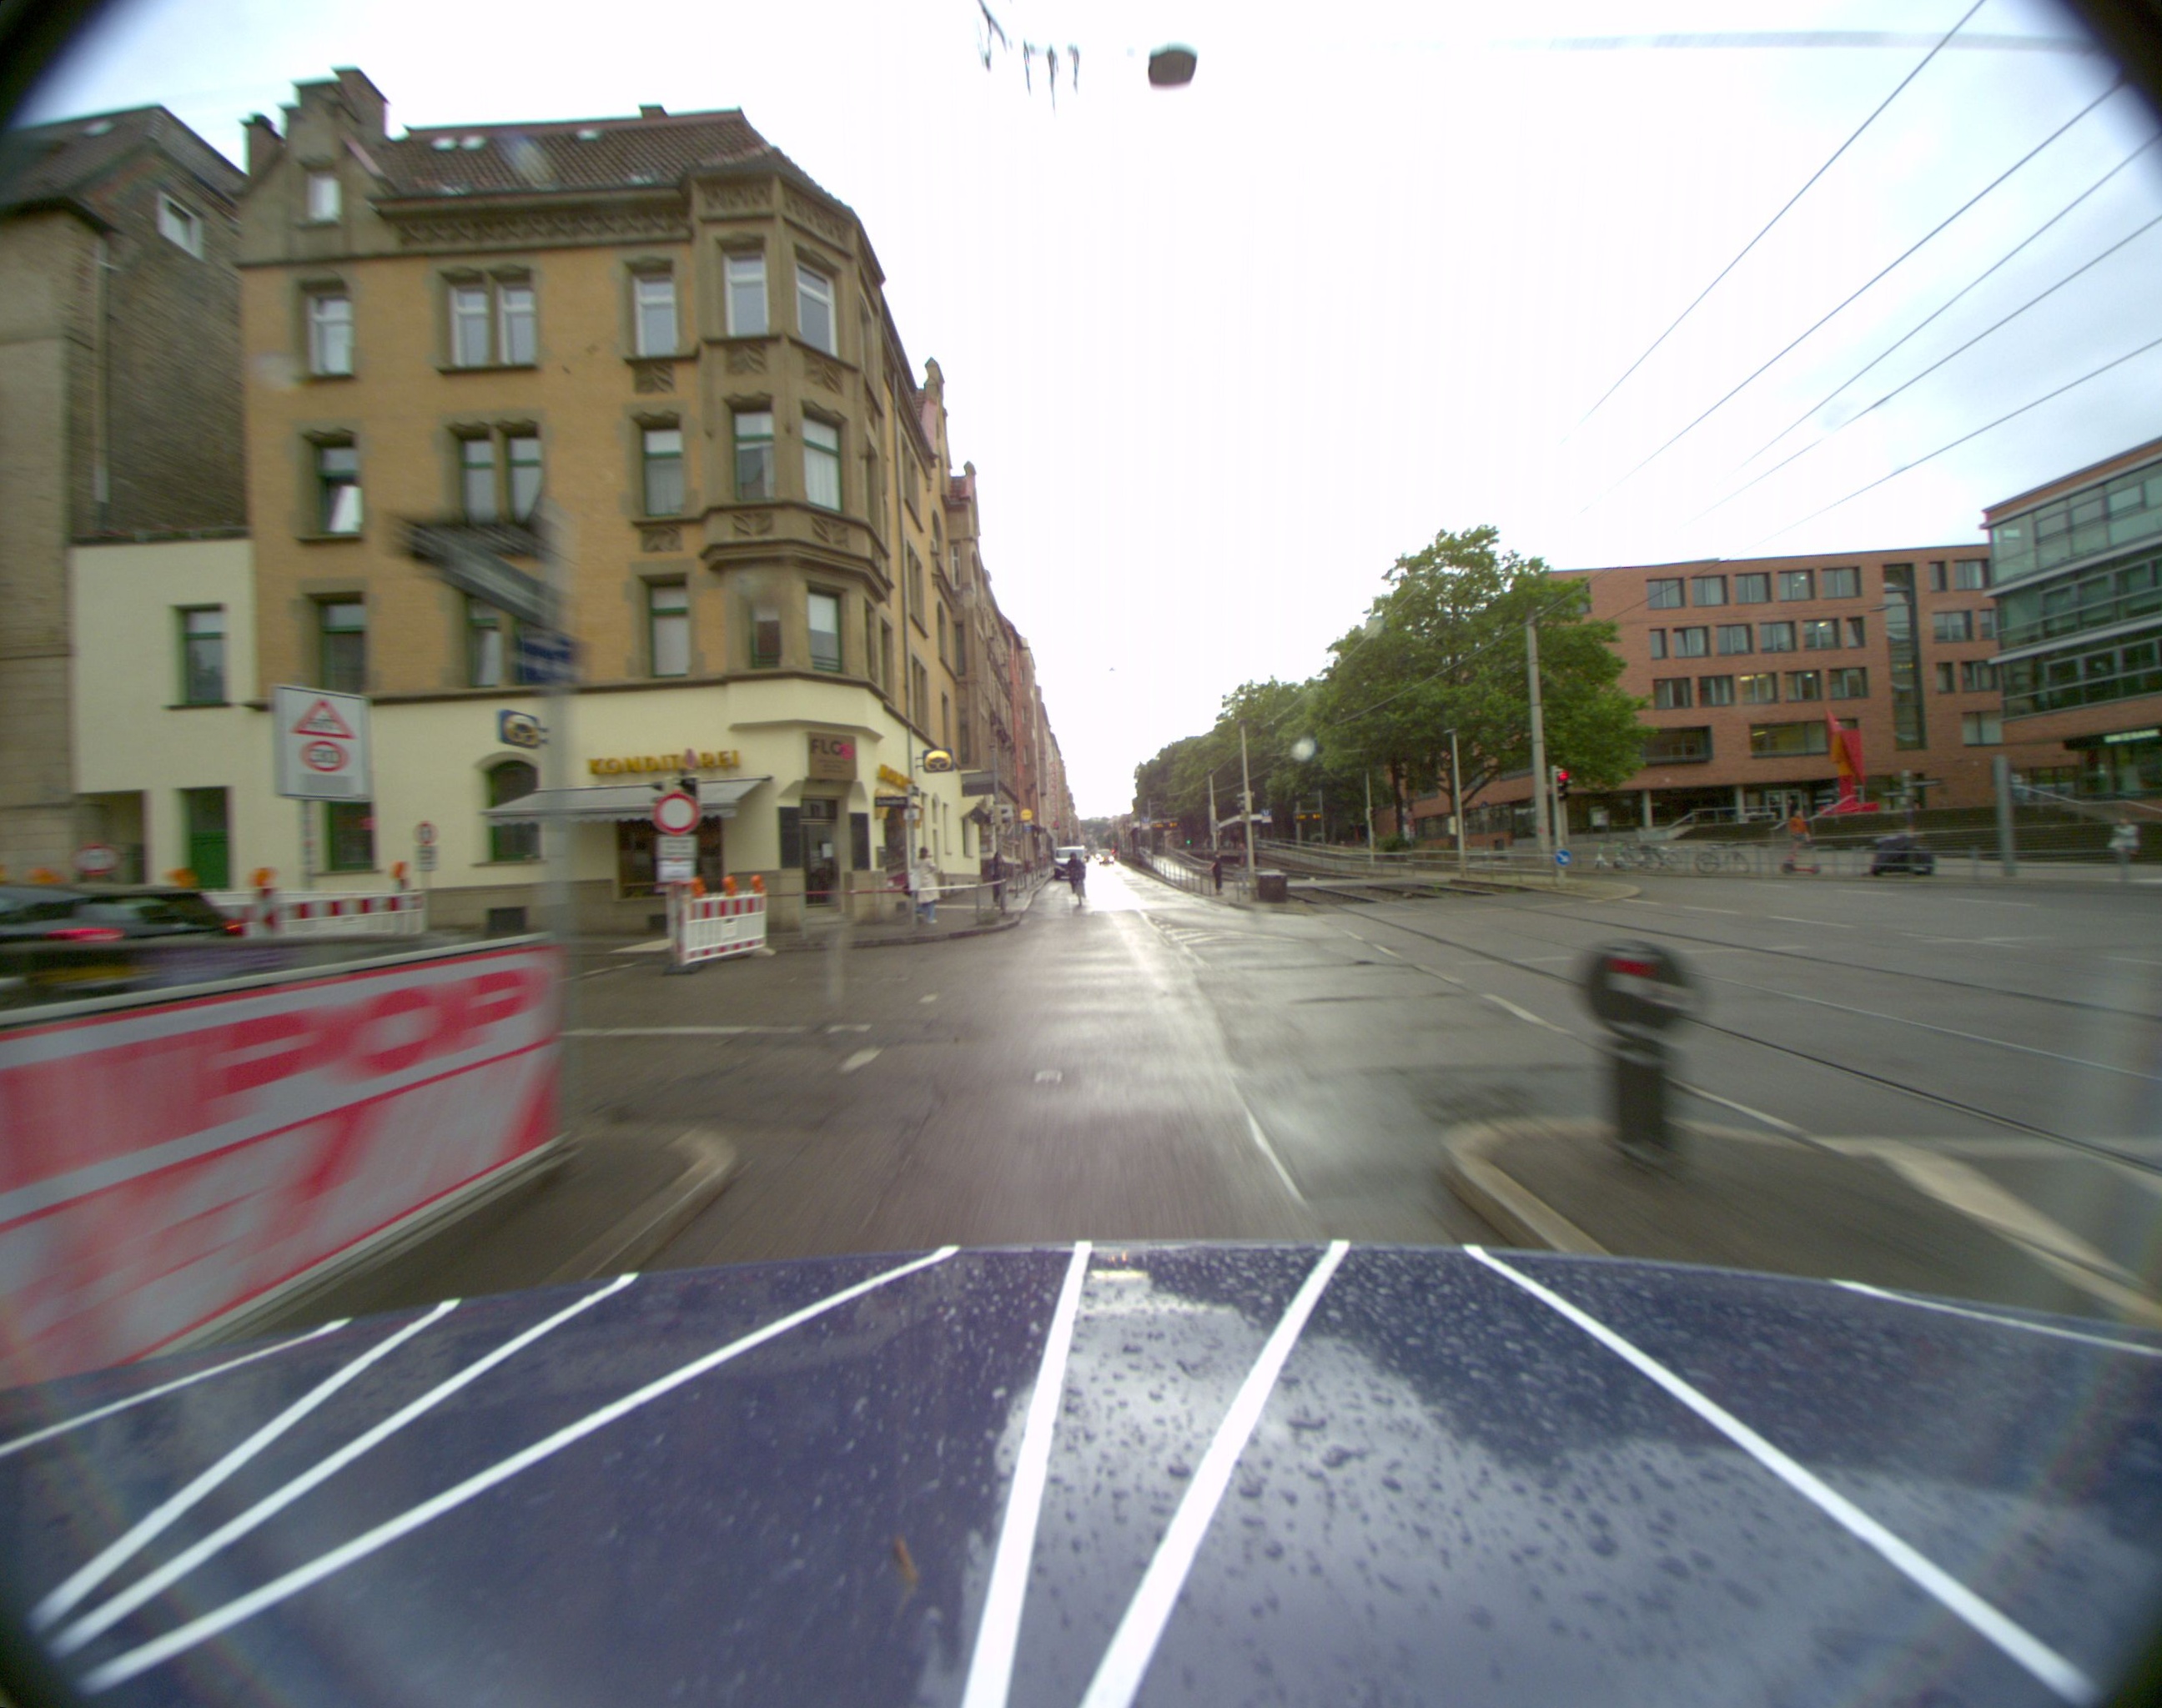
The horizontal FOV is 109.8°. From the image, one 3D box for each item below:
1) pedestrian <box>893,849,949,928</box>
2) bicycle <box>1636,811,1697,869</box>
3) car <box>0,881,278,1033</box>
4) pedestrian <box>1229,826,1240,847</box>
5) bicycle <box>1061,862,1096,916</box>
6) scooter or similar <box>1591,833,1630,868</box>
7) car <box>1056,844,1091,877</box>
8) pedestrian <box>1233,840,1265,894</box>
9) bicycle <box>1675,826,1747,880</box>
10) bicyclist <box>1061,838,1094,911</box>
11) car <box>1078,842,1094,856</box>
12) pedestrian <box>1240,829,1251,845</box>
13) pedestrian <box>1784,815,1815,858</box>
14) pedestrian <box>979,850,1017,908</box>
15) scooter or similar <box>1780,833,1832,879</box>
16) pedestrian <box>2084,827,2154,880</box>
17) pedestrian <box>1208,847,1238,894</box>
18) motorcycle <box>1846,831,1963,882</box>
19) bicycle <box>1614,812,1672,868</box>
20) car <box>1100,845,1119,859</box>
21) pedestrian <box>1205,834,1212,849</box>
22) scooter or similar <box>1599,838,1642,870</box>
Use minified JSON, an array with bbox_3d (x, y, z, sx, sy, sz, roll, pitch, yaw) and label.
[{"bbox_3d":[-3.634,0.771,17.323,0.996,1.695,0.781,-3,2,0],"label":"pedestrian"},{"bbox_3d":[21.464,-0.516,27.871,1.896,2.002,0.518,-3,2,-6],"label":"bicycle"},{"bbox_3d":[-11.709,1.052,8.262,3.997,1.367,1.799,-1,1,0],"label":"car"},{"bbox_3d":[15.195,-1.734,75.071,0.837,2.050,0.884,-2,1,-3],"label":"pedestrian"},{"bbox_3d":[-0.055,1.058,24.203,0.936,1.546,3.135,-1,1,2],"label":"bicycle"},{"bbox_3d":[21.565,-0.142,30.945,1.507,1.363,0.452,-3,1,-16],"label":"scooter or similar"},{"bbox_3d":[-0.389,0.361,48.610,1.825,1.893,5.990,-3,1,2],"label":"car"},{"bbox_3d":[5.815,0.438,26.370,0.827,1.788,1.001,-2,1,-1],"label":"pedestrian"},{"bbox_3d":[21.498,-0.052,25.927,2.096,1.689,0.556,-4,3,-6],"label":"bicycle"},{"bbox_3d":[-0.106,0.644,24.341,0.920,2.250,1.287,-2,1,2],"label":"bicyclist"},{"bbox_3d":[0.689,-0.683,105.285,1.884,1.838,3.998,-2,1,-2],"label":"car"},{"bbox_3d":[15.188,-1.562,70.193,0.781,1.475,0.884,-2,1,-3],"label":"pedestrian"},{"bbox_3d":[30.272,-0.740,32.013,0.791,1.735,1.070,-1,6,35],"label":"pedestrian"},{"bbox_3d":[-2.559,0.751,23.502,1.019,1.711,0.930,1,2,2],"label":"pedestrian"},{"bbox_3d":[22.742,0.059,23.826,1.507,1.363,0.452,-3,1,-16],"label":"scooter or similar"},{"bbox_3d":[34.476,-0.038,25.243,0.898,1.720,1.008,-1,2,1],"label":"pedestrian"},{"bbox_3d":[4.957,0.551,26.582,0.837,1.595,1.001,-2,1,-1],"label":"pedestrian"},{"bbox_3d":[23.842,0.066,22.019,2.658,1.363,0.865,-2,2,-6],"label":"motorcycle"},{"bbox_3d":[21.345,-0.529,28.863,1.896,2.002,0.518,-3,2,-6],"label":"bicycle"},{"bbox_3d":[3.021,-0.241,82.183,1.884,1.439,3.999,-2,1,0],"label":"car"},{"bbox_3d":[15.267,-1.534,90.896,0.676,1.780,0.703,-1,1,1],"label":"pedestrian"},{"bbox_3d":[21.499,0.000,30.272,1.720,1.187,0.478,-2,2,-20],"label":"scooter or similar"}]
